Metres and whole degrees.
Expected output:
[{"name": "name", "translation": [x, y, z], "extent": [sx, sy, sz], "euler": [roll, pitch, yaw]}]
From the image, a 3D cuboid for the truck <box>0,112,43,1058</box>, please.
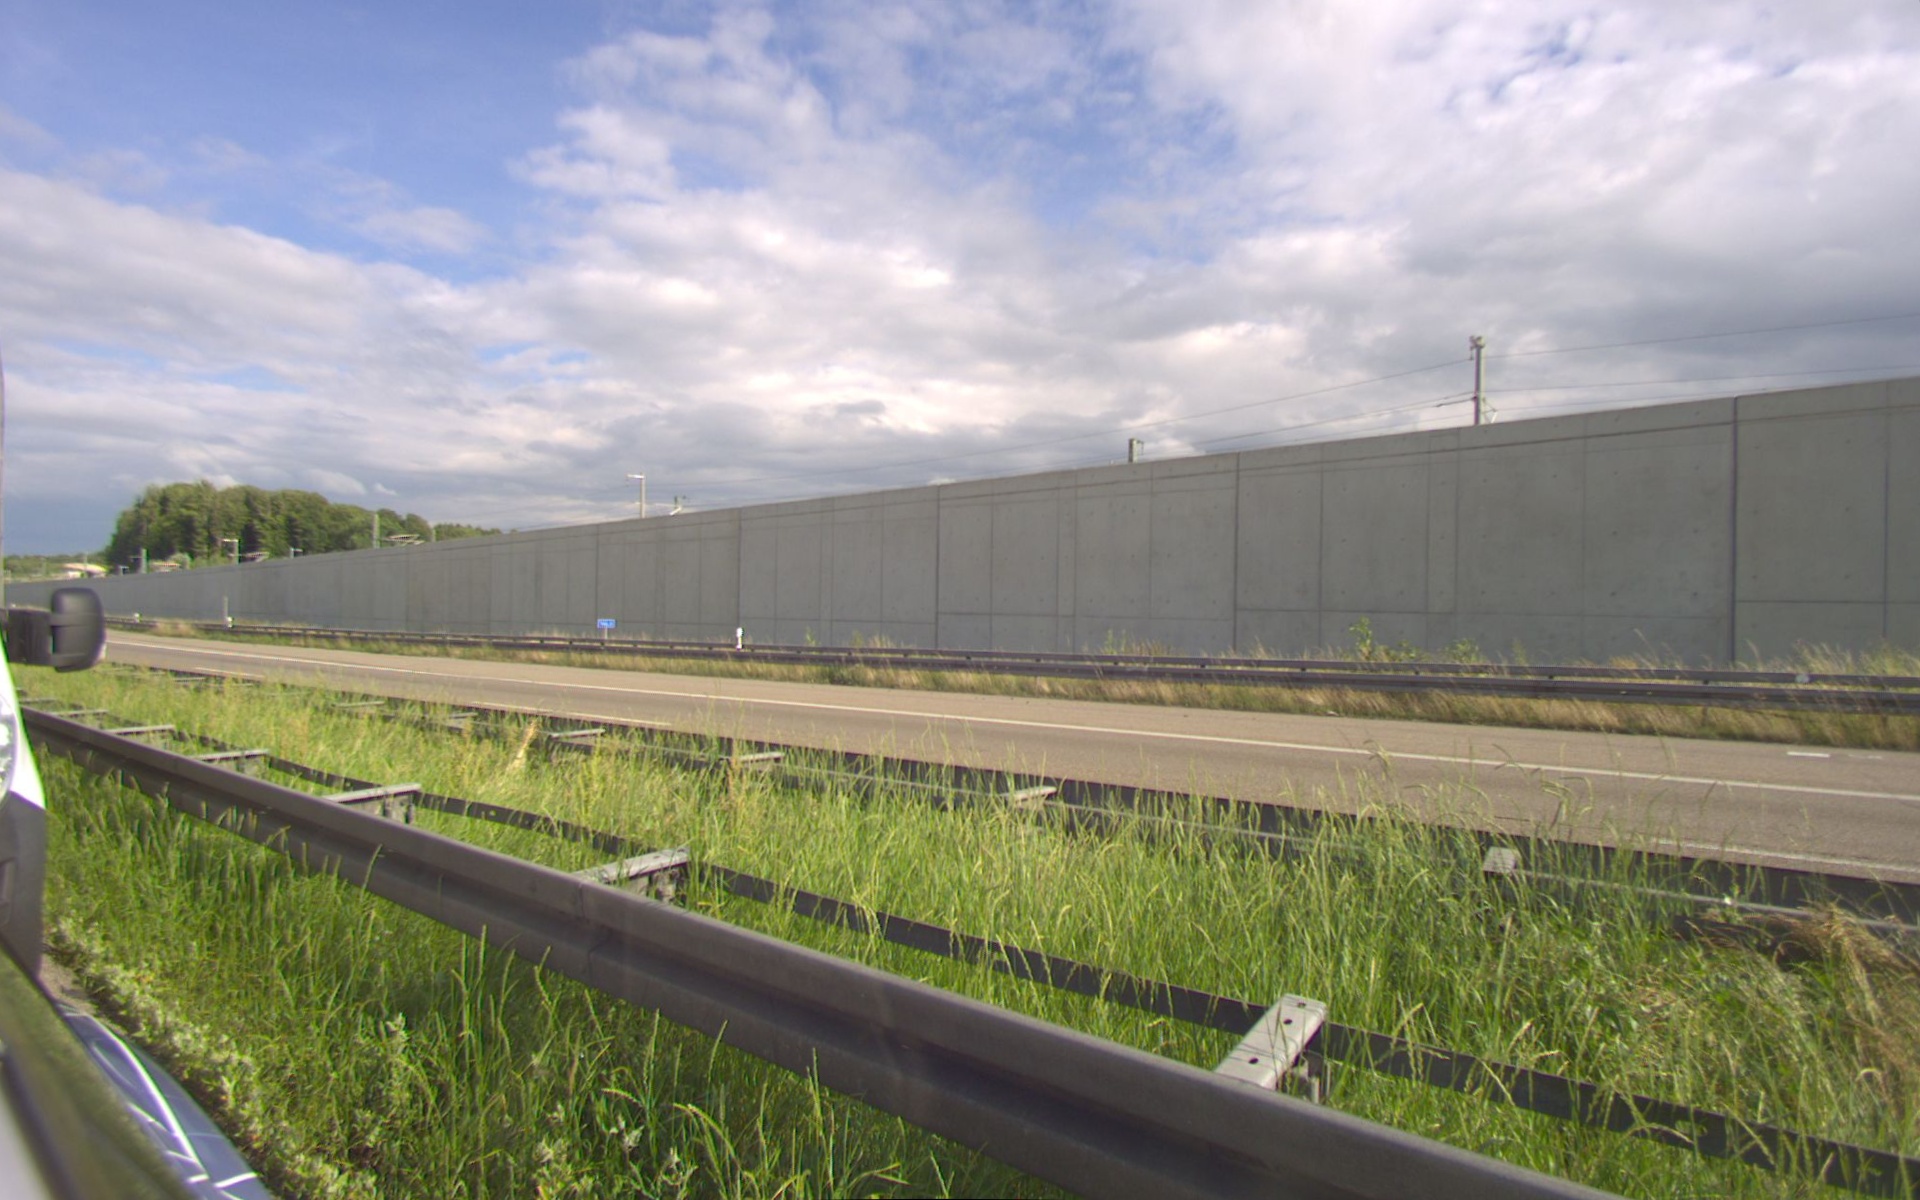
[{"name": "truck", "translation": [-6.695, -0.017, 5.221], "extent": [7.800, 3.129, 2.033], "euler": [-1, 0, 41]}]
